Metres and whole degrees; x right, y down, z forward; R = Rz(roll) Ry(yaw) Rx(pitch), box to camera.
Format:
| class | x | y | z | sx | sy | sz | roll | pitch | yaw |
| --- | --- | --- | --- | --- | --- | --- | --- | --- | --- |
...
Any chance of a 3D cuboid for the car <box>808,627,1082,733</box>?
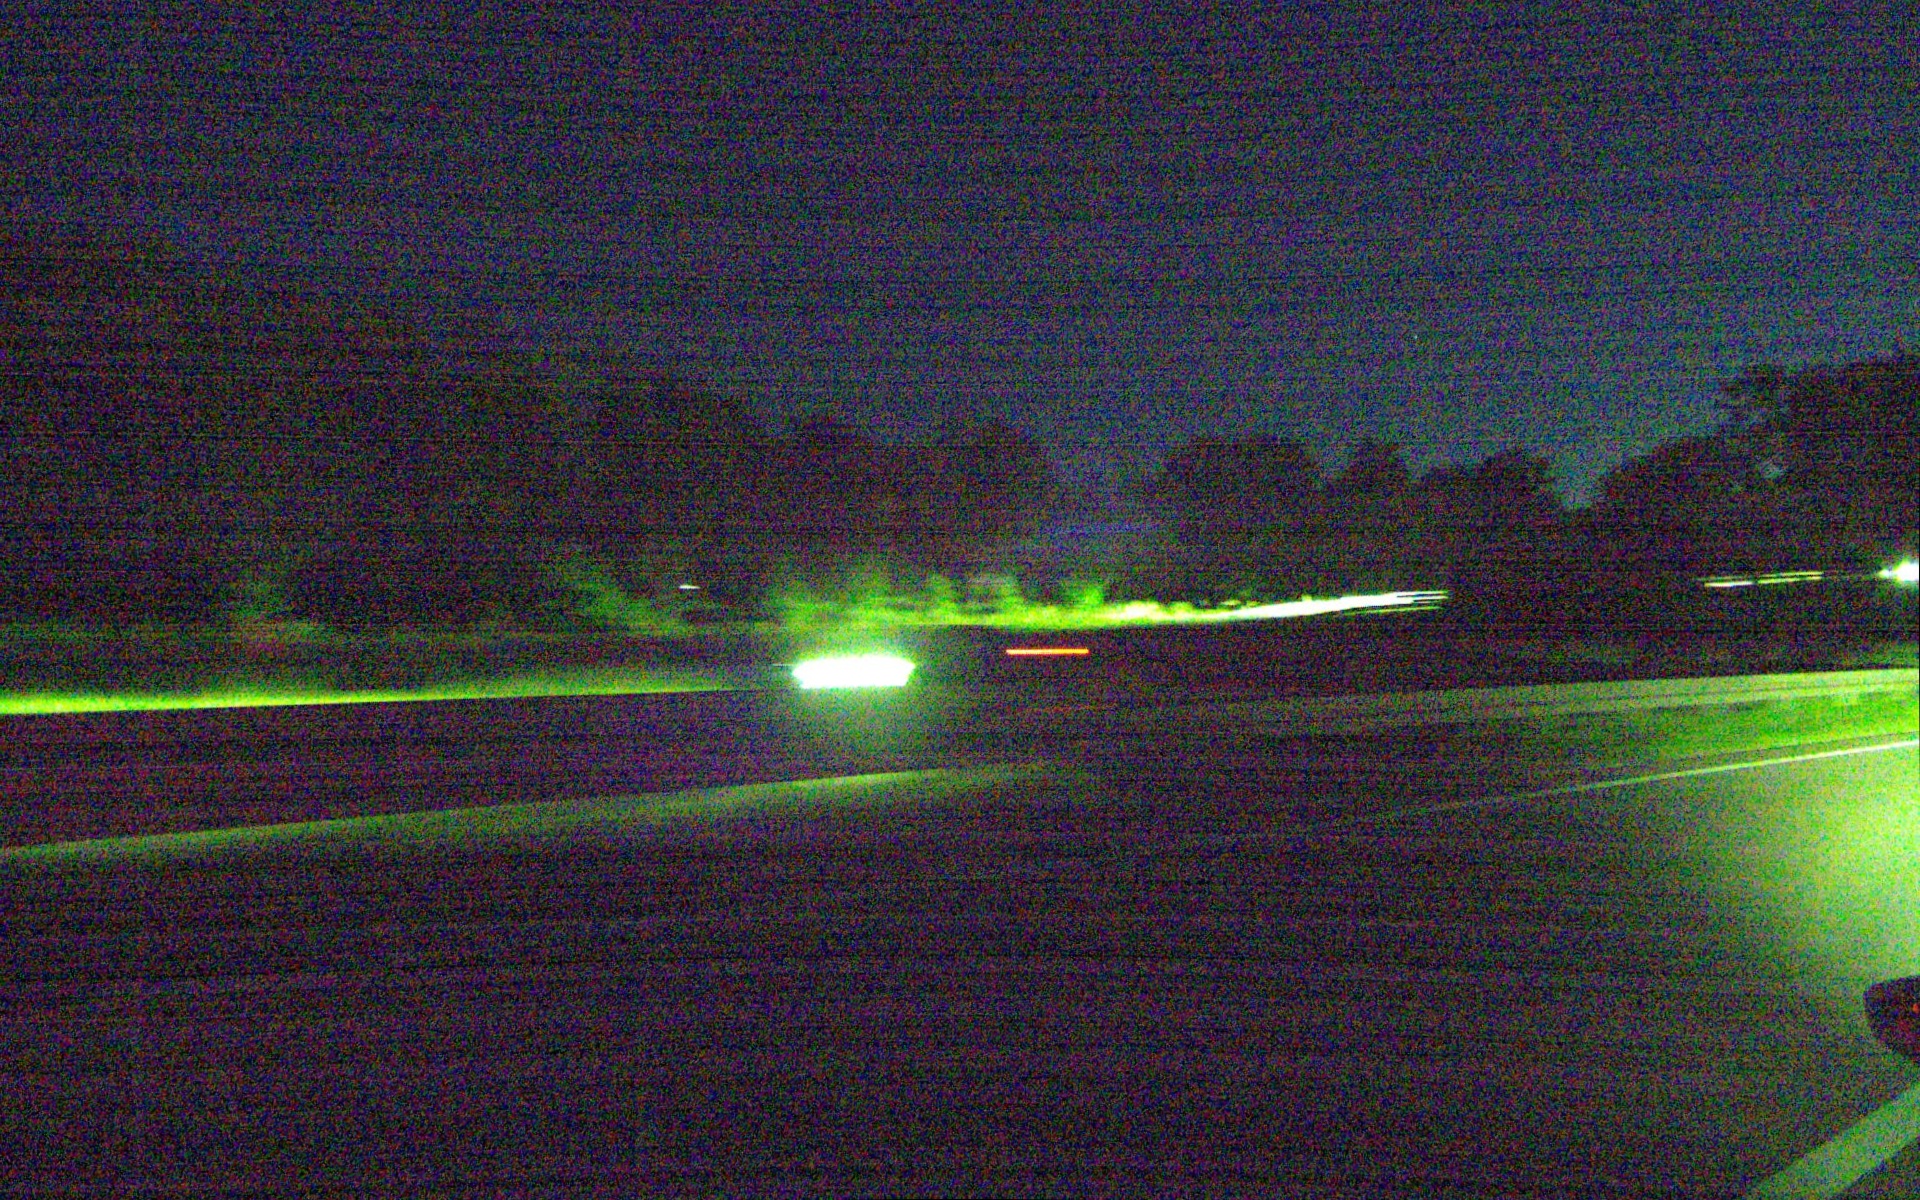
| class | x | y | z | sx | sy | sz | roll | pitch | yaw |
| --- | --- | --- | --- | --- | --- | --- | --- | --- | --- |
| car | -0.223 | 1.266 | 17.048 | 4.243 | 1.577 | 1.985 | 1 | -1 | -30 |
